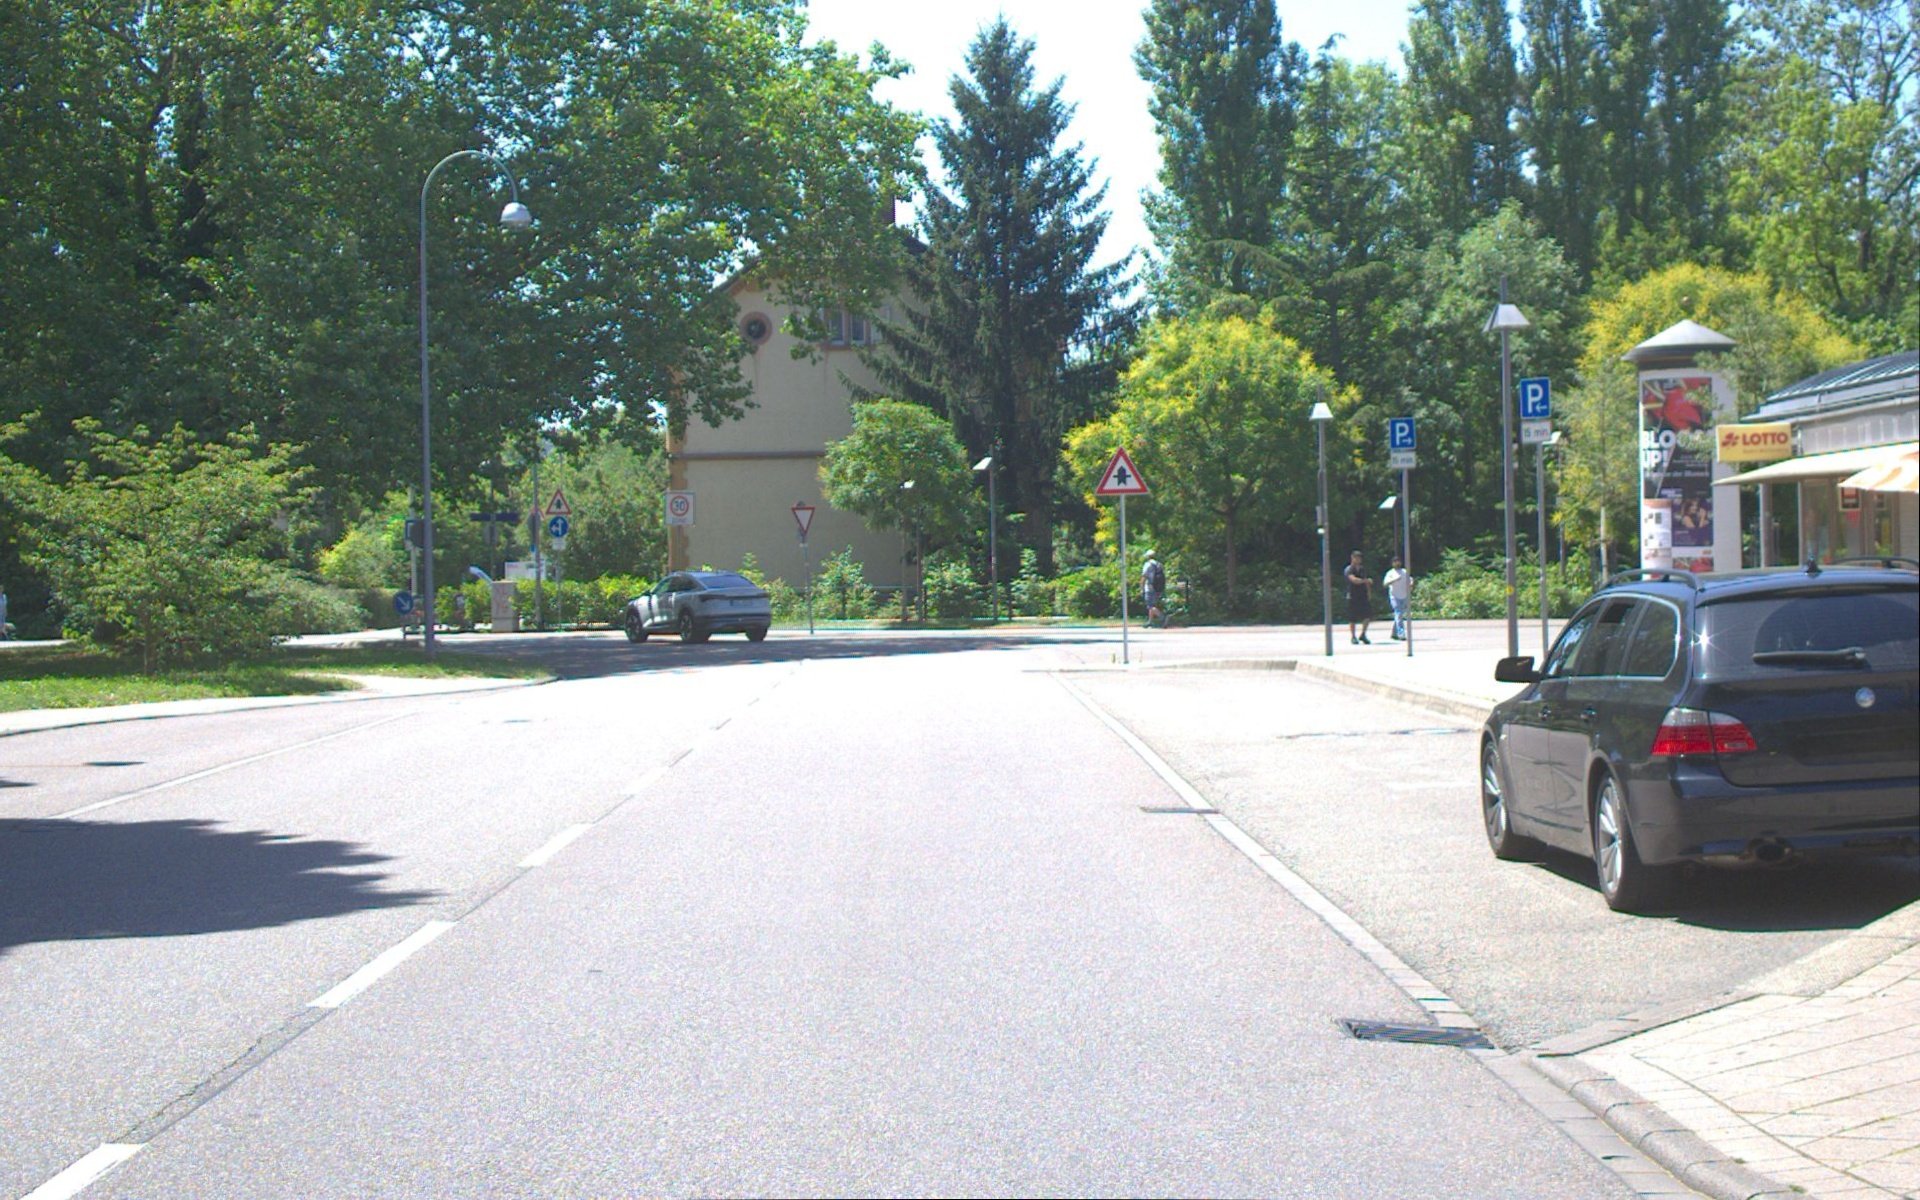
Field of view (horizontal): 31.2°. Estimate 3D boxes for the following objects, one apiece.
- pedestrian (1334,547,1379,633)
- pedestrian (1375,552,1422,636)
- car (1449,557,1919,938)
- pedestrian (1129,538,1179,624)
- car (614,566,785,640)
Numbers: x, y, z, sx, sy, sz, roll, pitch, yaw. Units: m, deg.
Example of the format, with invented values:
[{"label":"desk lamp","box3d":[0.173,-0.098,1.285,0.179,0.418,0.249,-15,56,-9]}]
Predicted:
[{"label":"pedestrian","box3d":[7.720,-0.194,66.879,0.636,1.644,0.749,-1,-2,28]},{"label":"pedestrian","box3d":[8.733,-0.110,68.434,0.721,1.644,0.749,-1,-2,28]},{"label":"car","box3d":[3.732,0.582,16.488,1.926,1.455,4.725,-4,1,-1]},{"label":"pedestrian","box3d":[4.459,-0.444,78.959,0.855,1.959,0.805,-1,0,29]},{"label":"car","box3d":[-6.054,0.057,79.463,1.982,1.621,4.778,-2,1,-31]}]
